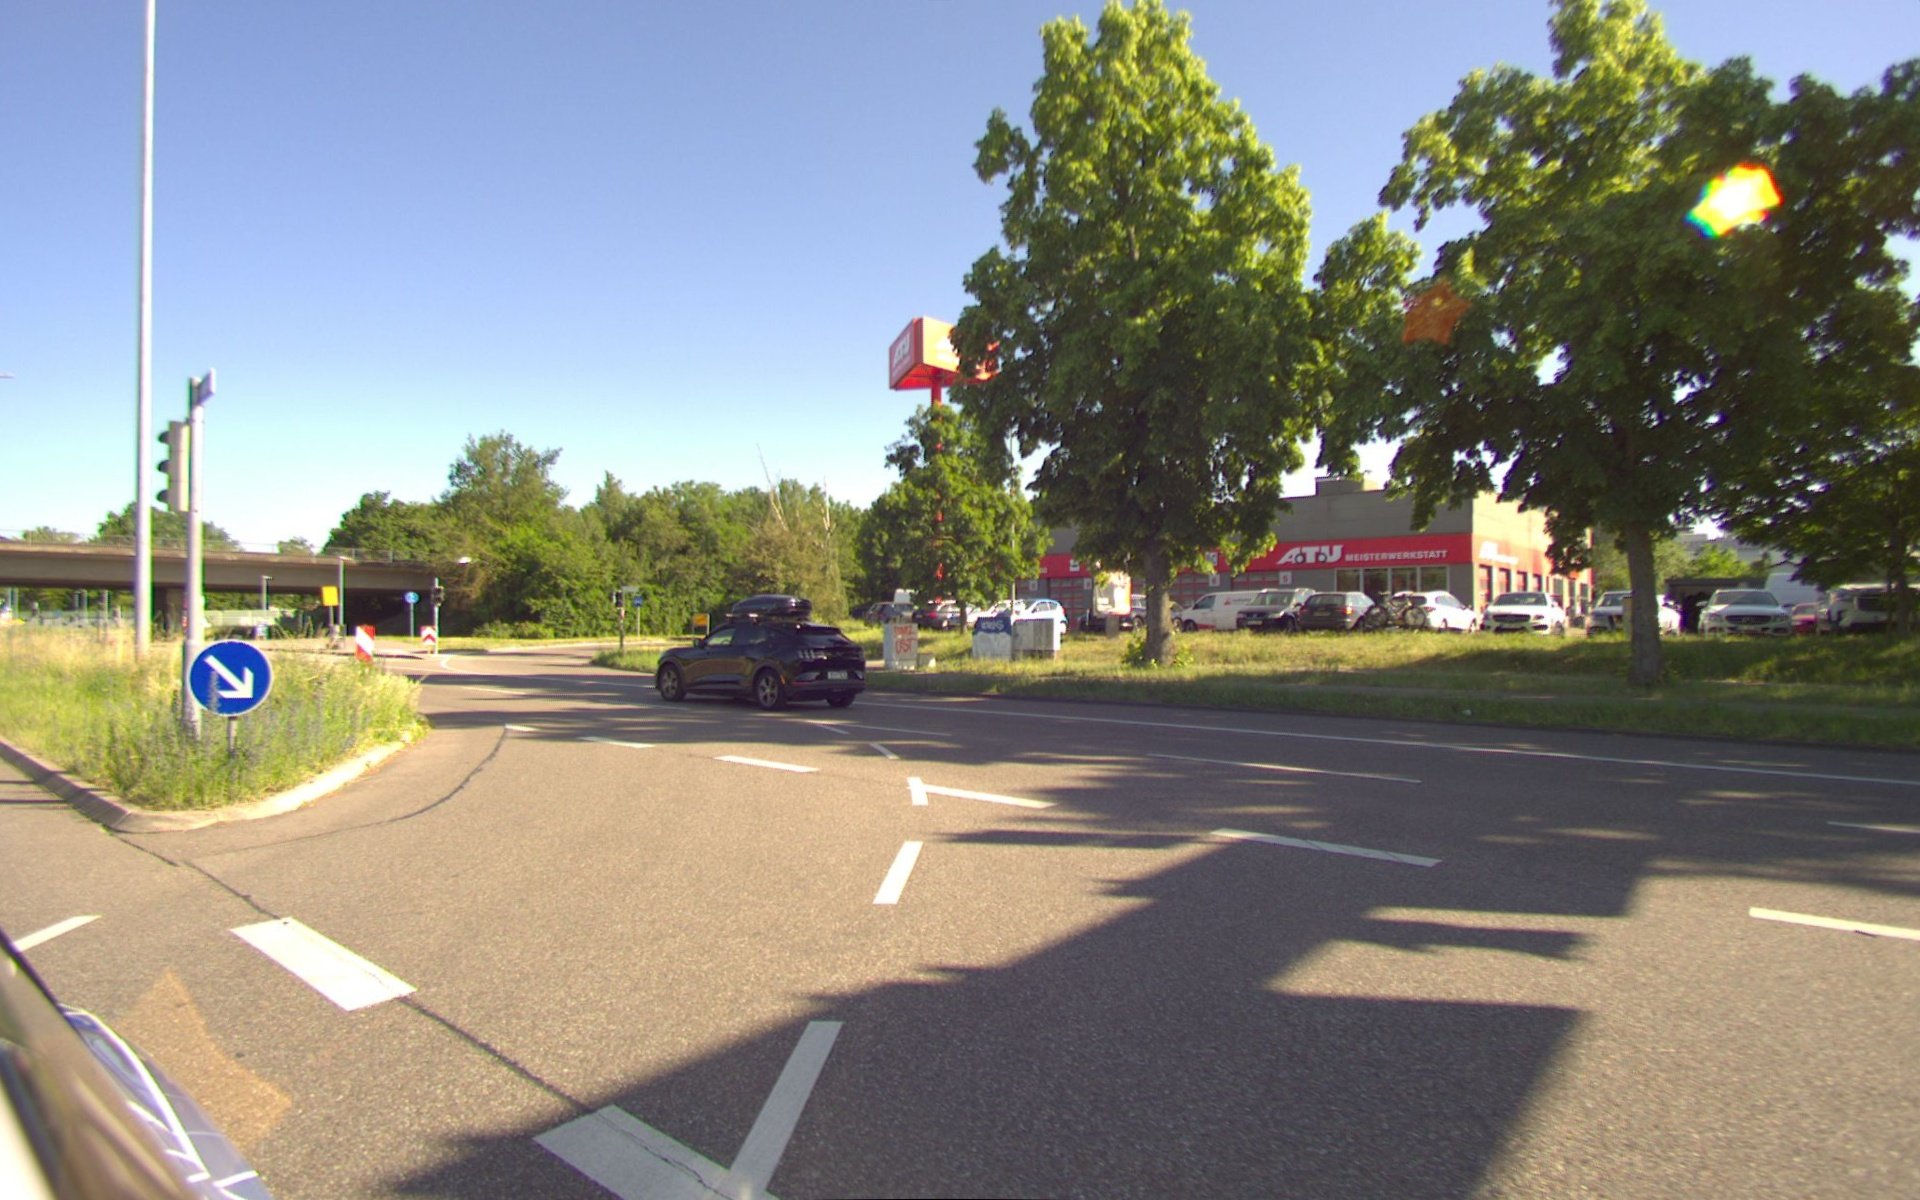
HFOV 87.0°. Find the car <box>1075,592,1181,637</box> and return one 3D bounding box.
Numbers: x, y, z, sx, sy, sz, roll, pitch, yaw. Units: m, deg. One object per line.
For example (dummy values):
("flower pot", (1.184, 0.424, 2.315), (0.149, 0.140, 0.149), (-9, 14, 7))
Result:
("car", (6.208, 0.573, 37.217), (1.946, 1.563, 4.073), (-2, -2, 43))

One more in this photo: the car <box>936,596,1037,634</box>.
("car", (1.157, 0.655, 43.128), (4.065, 1.563, 1.899), (1, -2, -39))

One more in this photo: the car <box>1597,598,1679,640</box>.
("car", (24.755, 0.706, 36.901), (1.895, 1.466, 4.073), (-2, -2, 42))

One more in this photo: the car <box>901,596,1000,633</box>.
("car", (-0.397, 0.673, 45.023), (4.064, 1.563, 1.899), (1, -2, -37))

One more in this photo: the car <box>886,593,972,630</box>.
("car", (-1.860, 0.703, 61.429), (4.988, 2.168, 1.890), (0, -2, 9))

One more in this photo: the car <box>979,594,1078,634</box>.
("car", (2.838, 0.607, 41.439), (1.819, 1.563, 4.071), (-2, -2, 45))

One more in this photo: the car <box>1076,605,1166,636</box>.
("car", (7.711, 1.003, 48.785), (3.983, 1.466, 1.760), (-2, -2, 42))

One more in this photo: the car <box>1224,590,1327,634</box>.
("car", (10.715, 0.447, 34.200), (1.944, 1.399, 4.077), (-1, -2, 39))

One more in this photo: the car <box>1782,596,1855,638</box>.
("car", (31.780, 0.642, 37.442), (1.895, 1.466, 4.073), (-2, -2, 42))

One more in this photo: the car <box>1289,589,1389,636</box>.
("car", (12.156, 0.433, 32.344), (1.943, 1.399, 4.080), (-1, -2, 37))

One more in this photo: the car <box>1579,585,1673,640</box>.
("car", (18.534, 0.378, 28.091), (1.943, 1.399, 4.080), (-1, -2, 37))

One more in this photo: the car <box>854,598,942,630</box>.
("car", (-3.151, 0.742, 51.206), (4.060, 1.563, 1.901), (0, -2, -18))

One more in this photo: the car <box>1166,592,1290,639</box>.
("car", (11.914, 0.723, 45.242), (5.131, 1.971, 1.759), (-2, -2, 44))

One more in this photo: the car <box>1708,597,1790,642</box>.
("car", (27.243, 0.686, 34.908), (1.895, 1.466, 4.073), (-2, -2, 42))

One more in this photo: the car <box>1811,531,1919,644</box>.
("car", (22.357, -0.205, 24.567), (2.203, 2.452, 5.823), (-1, -2, 37))

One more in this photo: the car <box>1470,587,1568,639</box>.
("car", (16.278, 0.400, 29.369), (1.943, 1.399, 4.080), (-1, -2, 37))

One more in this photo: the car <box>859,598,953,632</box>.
("car", (-2.550, 0.736, 48.283), (4.060, 1.563, 1.901), (1, -2, -28))

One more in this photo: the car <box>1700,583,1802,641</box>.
("car", (20.665, 0.357, 26.571), (1.943, 1.399, 4.080), (-1, -2, 37))

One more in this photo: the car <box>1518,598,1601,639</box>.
("car", (22.867, 0.725, 38.539), (1.895, 1.466, 4.073), (-2, -2, 42))

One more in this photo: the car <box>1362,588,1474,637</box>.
("car", (14.174, 0.407, 31.193), (1.945, 1.399, 4.572), (-2, -2, 40))

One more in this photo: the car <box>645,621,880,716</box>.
("car", (-3.751, 1.202, 18.775), (4.569, 1.554, 1.857), (-1, -3, 41))
